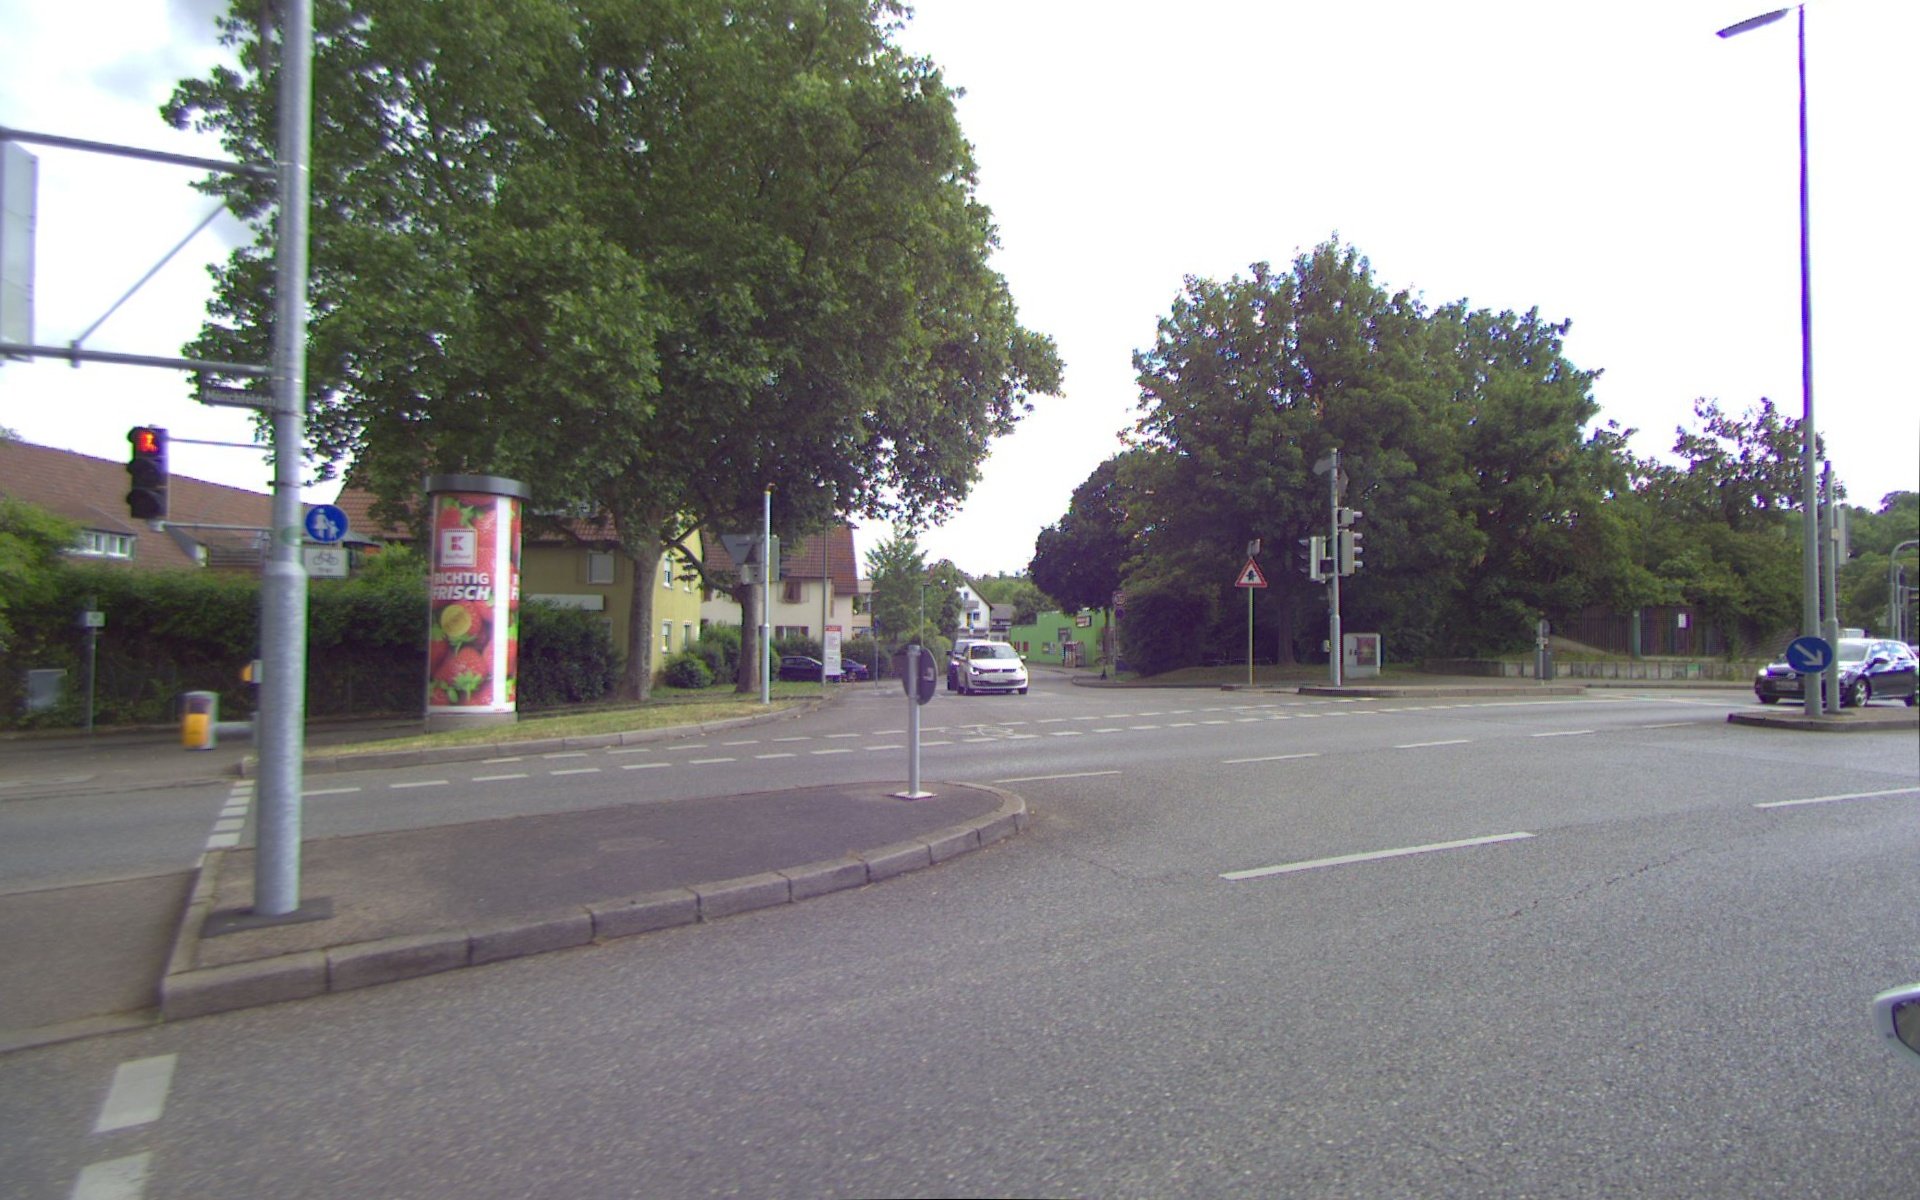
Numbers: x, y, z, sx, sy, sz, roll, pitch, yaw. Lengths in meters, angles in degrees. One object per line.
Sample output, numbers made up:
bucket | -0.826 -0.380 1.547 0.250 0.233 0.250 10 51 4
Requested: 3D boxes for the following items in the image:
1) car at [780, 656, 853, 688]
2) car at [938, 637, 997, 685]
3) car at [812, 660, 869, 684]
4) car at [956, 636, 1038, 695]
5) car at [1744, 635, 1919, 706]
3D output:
car | -7.617 3.835 53.481 3.660 1.584 1.764 1 -2 -3
car | 0.208 2.155 35.683 1.961 1.566 4.271 1 -3 -1
car | -7.222 4.372 60.972 3.376 1.427 1.546 1 -2 -7
car | 0.945 1.771 27.876 1.791 1.499 3.853 1 -2 -5
car | 19.006 1.473 21.652 4.254 1.384 1.672 2 -1 -26
